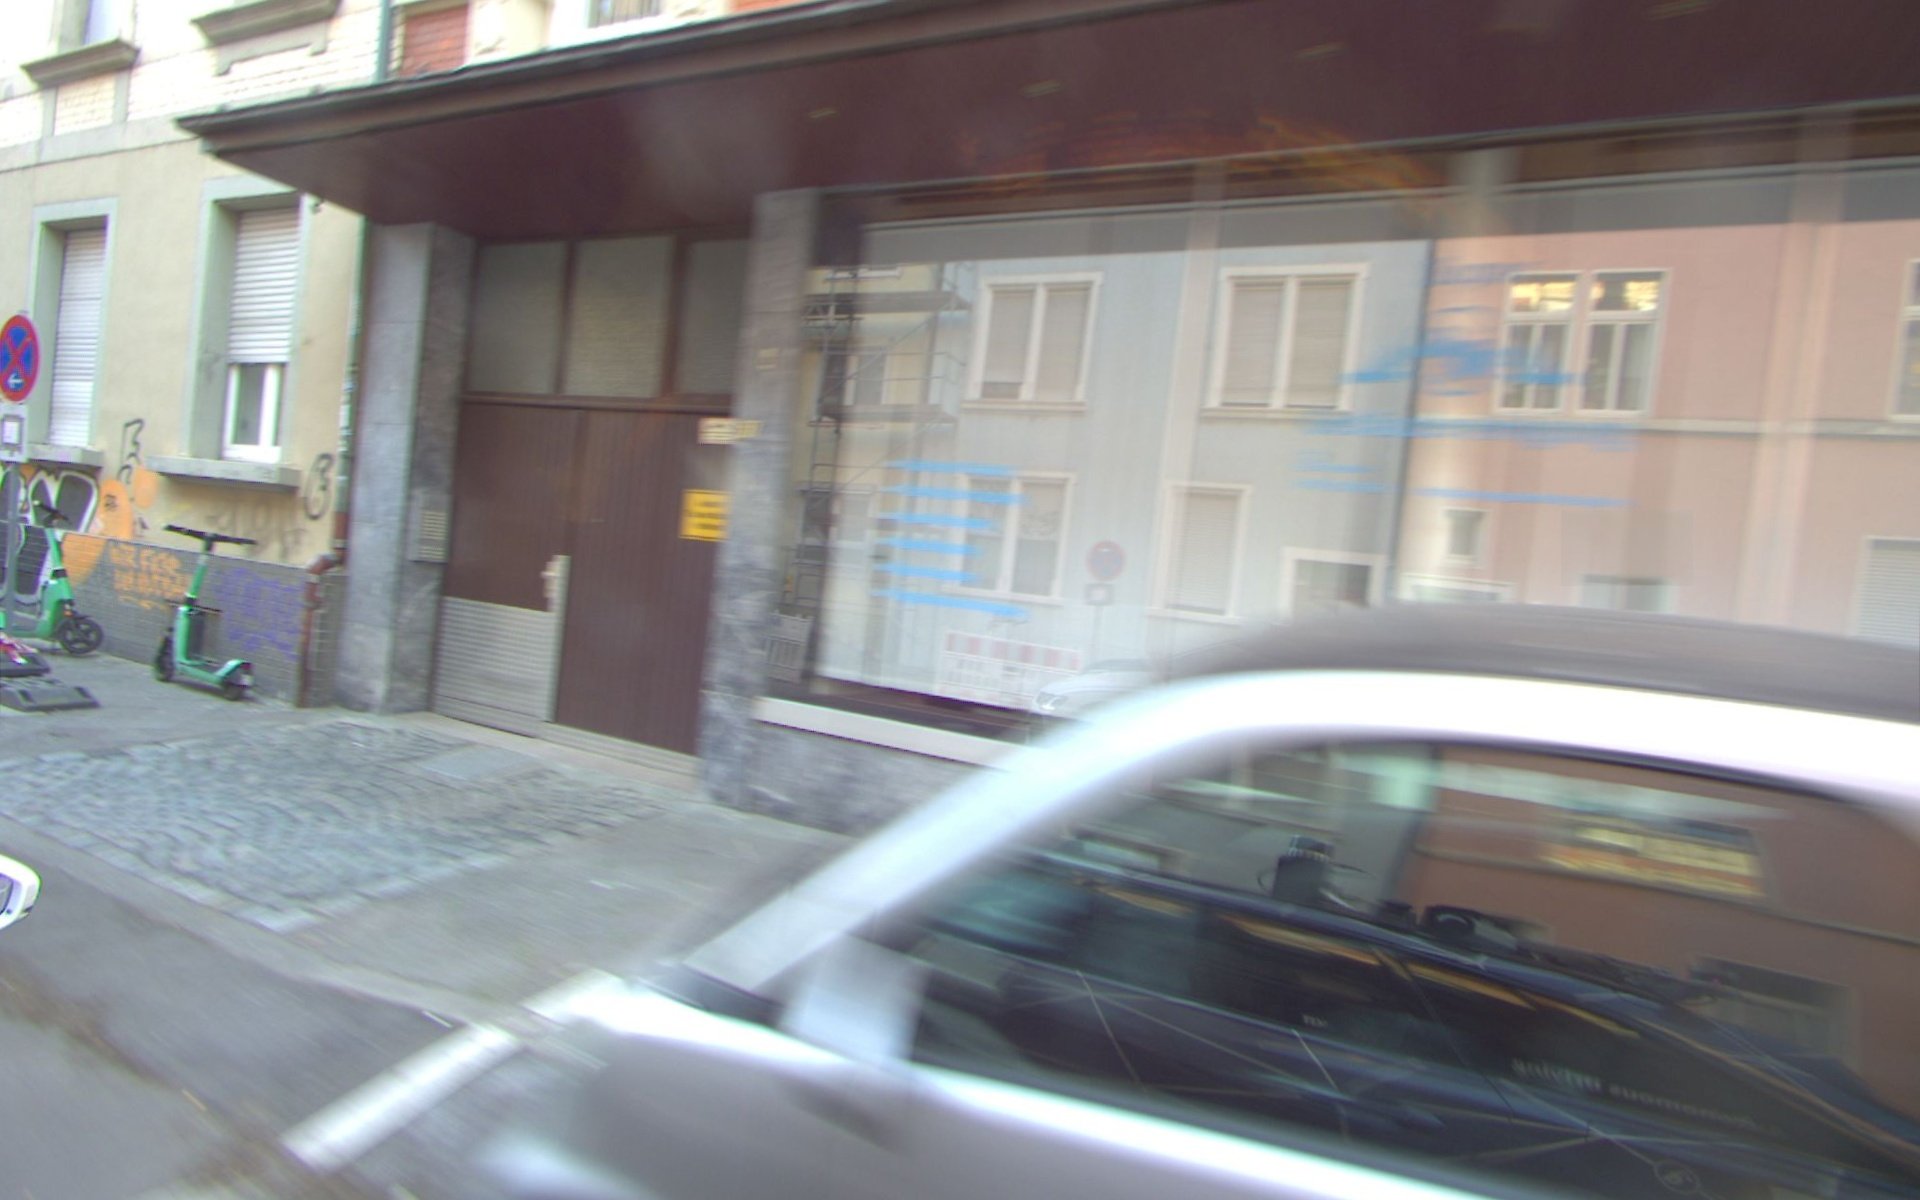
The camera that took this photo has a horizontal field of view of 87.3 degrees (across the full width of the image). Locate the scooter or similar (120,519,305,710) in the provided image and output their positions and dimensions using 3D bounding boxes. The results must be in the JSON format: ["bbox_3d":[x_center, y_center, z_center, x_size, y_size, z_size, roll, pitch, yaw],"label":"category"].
[{"bbox_3d":[-5.441,0.075,7.297,1.469,1.195,0.418,7,4,26],"label":"scooter or similar"}]

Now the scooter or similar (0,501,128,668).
[{"bbox_3d":[-7.410,-0.153,8.162,1.469,1.195,0.418,7,4,26],"label":"scooter or similar"}]

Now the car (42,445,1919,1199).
[{"bbox_3d":[0.215,0.707,1.848,3.747,1.580,1.599,7,2,28],"label":"car"}]
